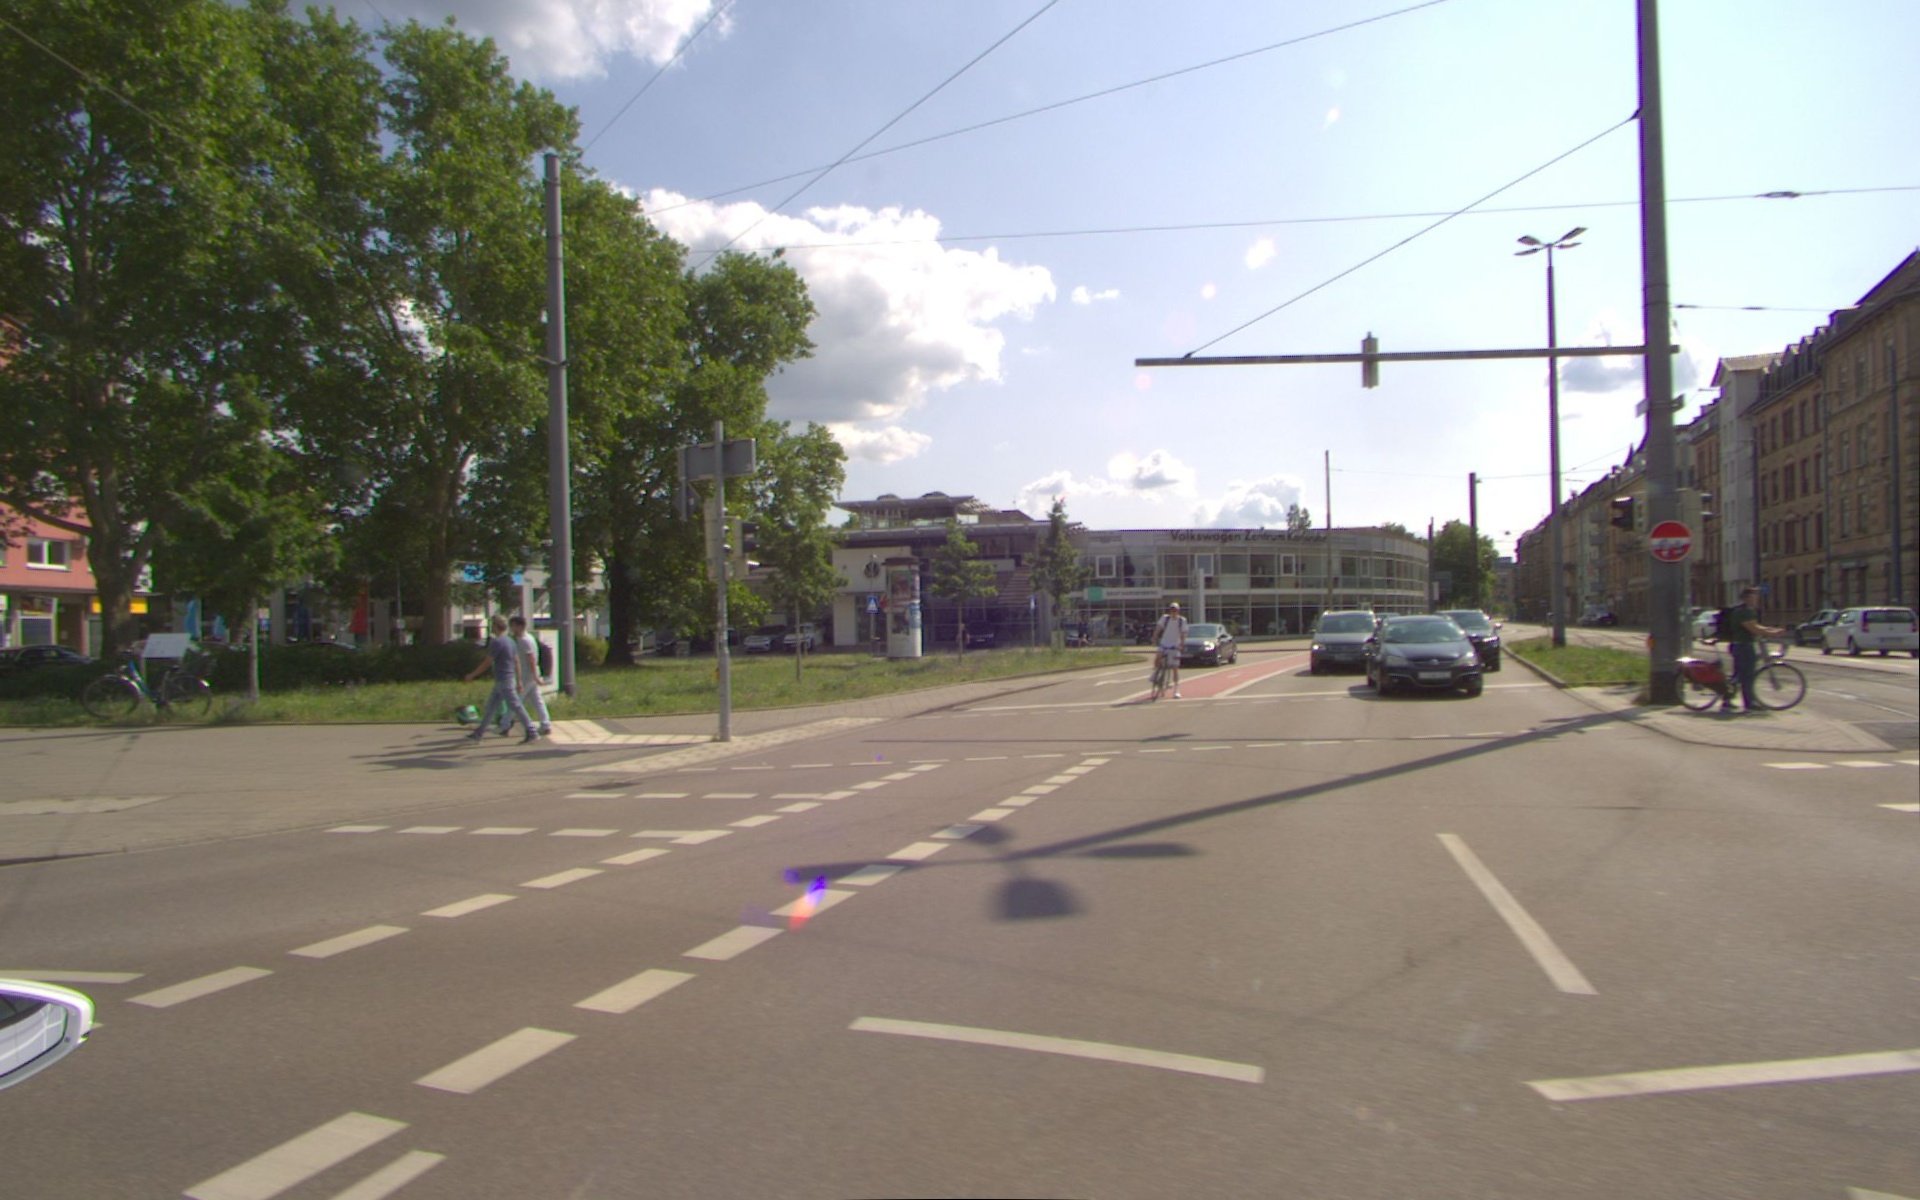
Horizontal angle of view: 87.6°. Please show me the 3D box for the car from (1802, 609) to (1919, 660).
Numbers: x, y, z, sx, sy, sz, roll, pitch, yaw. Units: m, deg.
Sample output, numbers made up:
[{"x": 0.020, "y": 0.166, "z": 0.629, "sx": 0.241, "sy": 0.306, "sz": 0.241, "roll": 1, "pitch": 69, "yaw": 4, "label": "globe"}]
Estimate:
[{"x": 27.820, "y": 1.033, "z": 30.735, "sx": 1.626, "sy": 1.440, "sz": 3.993, "roll": -1, "pitch": -1, "yaw": 19, "label": "car"}]

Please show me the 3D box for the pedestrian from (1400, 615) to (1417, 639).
[{"x": 32.784, "y": 1.991, "z": 73.226, "sx": 0.868, "sy": 1.759, "sz": 0.869, "roll": 0, "pitch": -1, "yaw": 42, "label": "pedestrian"}]

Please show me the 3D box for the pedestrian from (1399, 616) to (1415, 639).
[{"x": 33.552, "y": 2.065, "z": 75.091, "sx": 0.868, "sy": 1.759, "sz": 0.869, "roll": 0, "pitch": -1, "yaw": 42, "label": "pedestrian"}]

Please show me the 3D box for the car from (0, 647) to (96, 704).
[{"x": -24.847, "y": 1.947, "z": 25.853, "sx": 1.875, "sy": 1.431, "sz": 4.002, "roll": -1, "pitch": -3, "yaw": -6, "label": "car"}]

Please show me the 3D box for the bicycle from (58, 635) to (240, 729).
[{"x": -12.908, "y": 1.291, "z": 16.002, "sx": 2.134, "sy": 1.433, "sz": 0.812, "roll": 0, "pitch": 0, "yaw": -9, "label": "bicycle"}]

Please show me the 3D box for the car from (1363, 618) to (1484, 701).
[{"x": 8.698, "y": 1.073, "z": 19.053, "sx": 1.713, "sy": 1.391, "sz": 3.635, "roll": -2, "pitch": -2, "yaw": 19, "label": "car"}]

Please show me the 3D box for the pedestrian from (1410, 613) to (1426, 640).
[{"x": 33.765, "y": 1.933, "z": 73.752, "sx": 0.867, "sy": 1.947, "sz": 0.870, "roll": 0, "pitch": -1, "yaw": 39, "label": "pedestrian"}]

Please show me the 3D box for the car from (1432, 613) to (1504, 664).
[{"x": 16.123, "y": 1.210, "z": 31.735, "sx": 1.877, "sy": 1.480, "sz": 3.953, "roll": -3, "pitch": -2, "yaw": 28, "label": "car"}]

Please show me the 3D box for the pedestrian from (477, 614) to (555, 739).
[{"x": -6.450, "y": 1.104, "z": 14.583, "sx": 0.910, "sy": 1.766, "sz": 0.588, "roll": 1, "pitch": -1, "yaw": -14, "label": "pedestrian"}]

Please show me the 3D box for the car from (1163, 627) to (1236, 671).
[{"x": 8.033, "y": 1.601, "z": 33.378, "sx": 1.714, "sy": 1.304, "sz": 3.989, "roll": -2, "pitch": -2, "yaw": 23, "label": "car"}]

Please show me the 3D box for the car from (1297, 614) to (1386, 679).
[{"x": 10.327, "y": 1.197, "z": 26.945, "sx": 1.717, "sy": 1.593, "sz": 3.984, "roll": -2, "pitch": -2, "yaw": 28, "label": "car"}]

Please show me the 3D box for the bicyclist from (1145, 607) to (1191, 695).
[{"x": 4.111, "y": 0.998, "z": 19.744, "sx": 0.749, "sy": 1.705, "sz": 0.759, "roll": -2, "pitch": -1, "yaw": 20, "label": "bicyclist"}]

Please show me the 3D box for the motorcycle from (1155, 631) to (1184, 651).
[{"x": 13.116, "y": 2.565, "z": 62.651, "sx": 1.939, "sy": 1.201, "sz": 0.563, "roll": 2, "pitch": -1, "yaw": -36, "label": "motorcycle"}]

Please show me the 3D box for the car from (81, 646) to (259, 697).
[{"x": -22.644, "y": 2.039, "z": 28.774, "sx": 3.922, "sy": 1.343, "sz": 1.634, "roll": -2, "pitch": -2, "yaw": 4, "label": "car"}]

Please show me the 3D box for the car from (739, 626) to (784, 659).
[{"x": -12.908, "y": 2.778, "z": 65.243, "sx": 1.935, "sy": 1.961, "sz": 4.234, "roll": -2, "pitch": -2, "yaw": 2, "label": "car"}]

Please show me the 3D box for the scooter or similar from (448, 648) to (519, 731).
[{"x": -7.281, "y": 1.348, "z": 15.291, "sx": 1.158, "sy": 1.209, "sz": 0.398, "roll": 0, "pitch": -1, "yaw": 32, "label": "scooter or similar"}]

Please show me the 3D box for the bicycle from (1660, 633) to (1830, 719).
[{"x": 10.868, "y": 1.032, "z": 13.918, "sx": 1.751, "sy": 1.140, "sz": 0.639, "roll": 0, "pitch": 0, "yaw": 13, "label": "bicycle"}]

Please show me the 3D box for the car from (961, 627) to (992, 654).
[{"x": 1.027, "y": 2.491, "z": 61.824, "sx": 1.789, "sy": 1.553, "sz": 3.919, "roll": -2, "pitch": -2, "yaw": 2, "label": "car"}]

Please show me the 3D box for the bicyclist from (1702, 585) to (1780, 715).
[{"x": 10.865, "y": 0.681, "z": 13.951, "sx": 0.649, "sy": 1.761, "sz": 0.639, "roll": 0, "pitch": 0, "yaw": 13, "label": "bicyclist"}]

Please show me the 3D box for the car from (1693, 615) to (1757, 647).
[{"x": 35.788, "y": 1.448, "z": 46.929, "sx": 1.828, "sy": 1.437, "sz": 3.664, "roll": -1, "pitch": -2, "yaw": 29, "label": "car"}]

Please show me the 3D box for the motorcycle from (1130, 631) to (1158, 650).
[{"x": 11.497, "y": 2.533, "z": 62.581, "sx": 1.939, "sy": 1.201, "sz": 0.563, "roll": 2, "pitch": -1, "yaw": -36, "label": "motorcycle"}]

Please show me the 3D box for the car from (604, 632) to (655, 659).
[{"x": -23.081, "y": 3.206, "z": 69.932, "sx": 3.961, "sy": 1.812, "sz": 1.825, "roll": -4, "pitch": -4, "yaw": 45, "label": "car"}]

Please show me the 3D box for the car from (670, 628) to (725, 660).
[{"x": -17.388, "y": 2.942, "z": 66.583, "sx": 1.936, "sy": 1.961, "sz": 5.071, "roll": -2, "pitch": -2, "yaw": 5, "label": "car"}]

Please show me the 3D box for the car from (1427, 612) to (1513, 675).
[{"x": 13.115, "y": 1.092, "z": 25.922, "sx": 1.667, "sy": 1.480, "sz": 3.958, "roll": -2, "pitch": -2, "yaw": 23, "label": "car"}]

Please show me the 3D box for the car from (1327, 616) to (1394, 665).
[{"x": 13.273, "y": 1.303, "z": 33.051, "sx": 1.607, "sy": 1.480, "sz": 3.952, "roll": -2, "pitch": -1, "yaw": 28, "label": "car"}]

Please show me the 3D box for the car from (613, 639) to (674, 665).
[{"x": -23.516, "y": 3.859, "z": 74.443, "sx": 3.926, "sy": 1.812, "sz": 1.841, "roll": -2, "pitch": -2, "yaw": 14, "label": "car"}]

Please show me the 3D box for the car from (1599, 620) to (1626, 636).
[{"x": 66.148, "y": 2.852, "z": 101.529, "sx": 1.813, "sy": 1.673, "sz": 3.988, "roll": -1, "pitch": -2, "yaw": 25, "label": "car"}]

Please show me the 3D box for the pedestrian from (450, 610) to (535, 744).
[{"x": -6.325, "y": 1.033, "z": 13.591, "sx": 0.910, "sy": 1.766, "sz": 0.588, "roll": 1, "pitch": -1, "yaw": -15, "label": "pedestrian"}]

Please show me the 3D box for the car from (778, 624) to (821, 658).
[{"x": -10.332, "y": 2.638, "z": 64.710, "sx": 1.961, "sy": 2.039, "sz": 4.234, "roll": -2, "pitch": -2, "yaw": 2, "label": "car"}]

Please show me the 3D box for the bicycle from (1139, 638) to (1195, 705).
[{"x": 4.098, "y": 1.379, "z": 19.723, "sx": 0.749, "sy": 1.207, "sz": 2.146, "roll": -2, "pitch": -1, "yaw": 20, "label": "bicycle"}]

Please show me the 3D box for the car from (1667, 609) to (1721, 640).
[{"x": 41.711, "y": 1.418, "z": 56.962, "sx": 1.813, "sy": 1.673, "sz": 3.987, "roll": -1, "pitch": -2, "yaw": 27, "label": "car"}]
